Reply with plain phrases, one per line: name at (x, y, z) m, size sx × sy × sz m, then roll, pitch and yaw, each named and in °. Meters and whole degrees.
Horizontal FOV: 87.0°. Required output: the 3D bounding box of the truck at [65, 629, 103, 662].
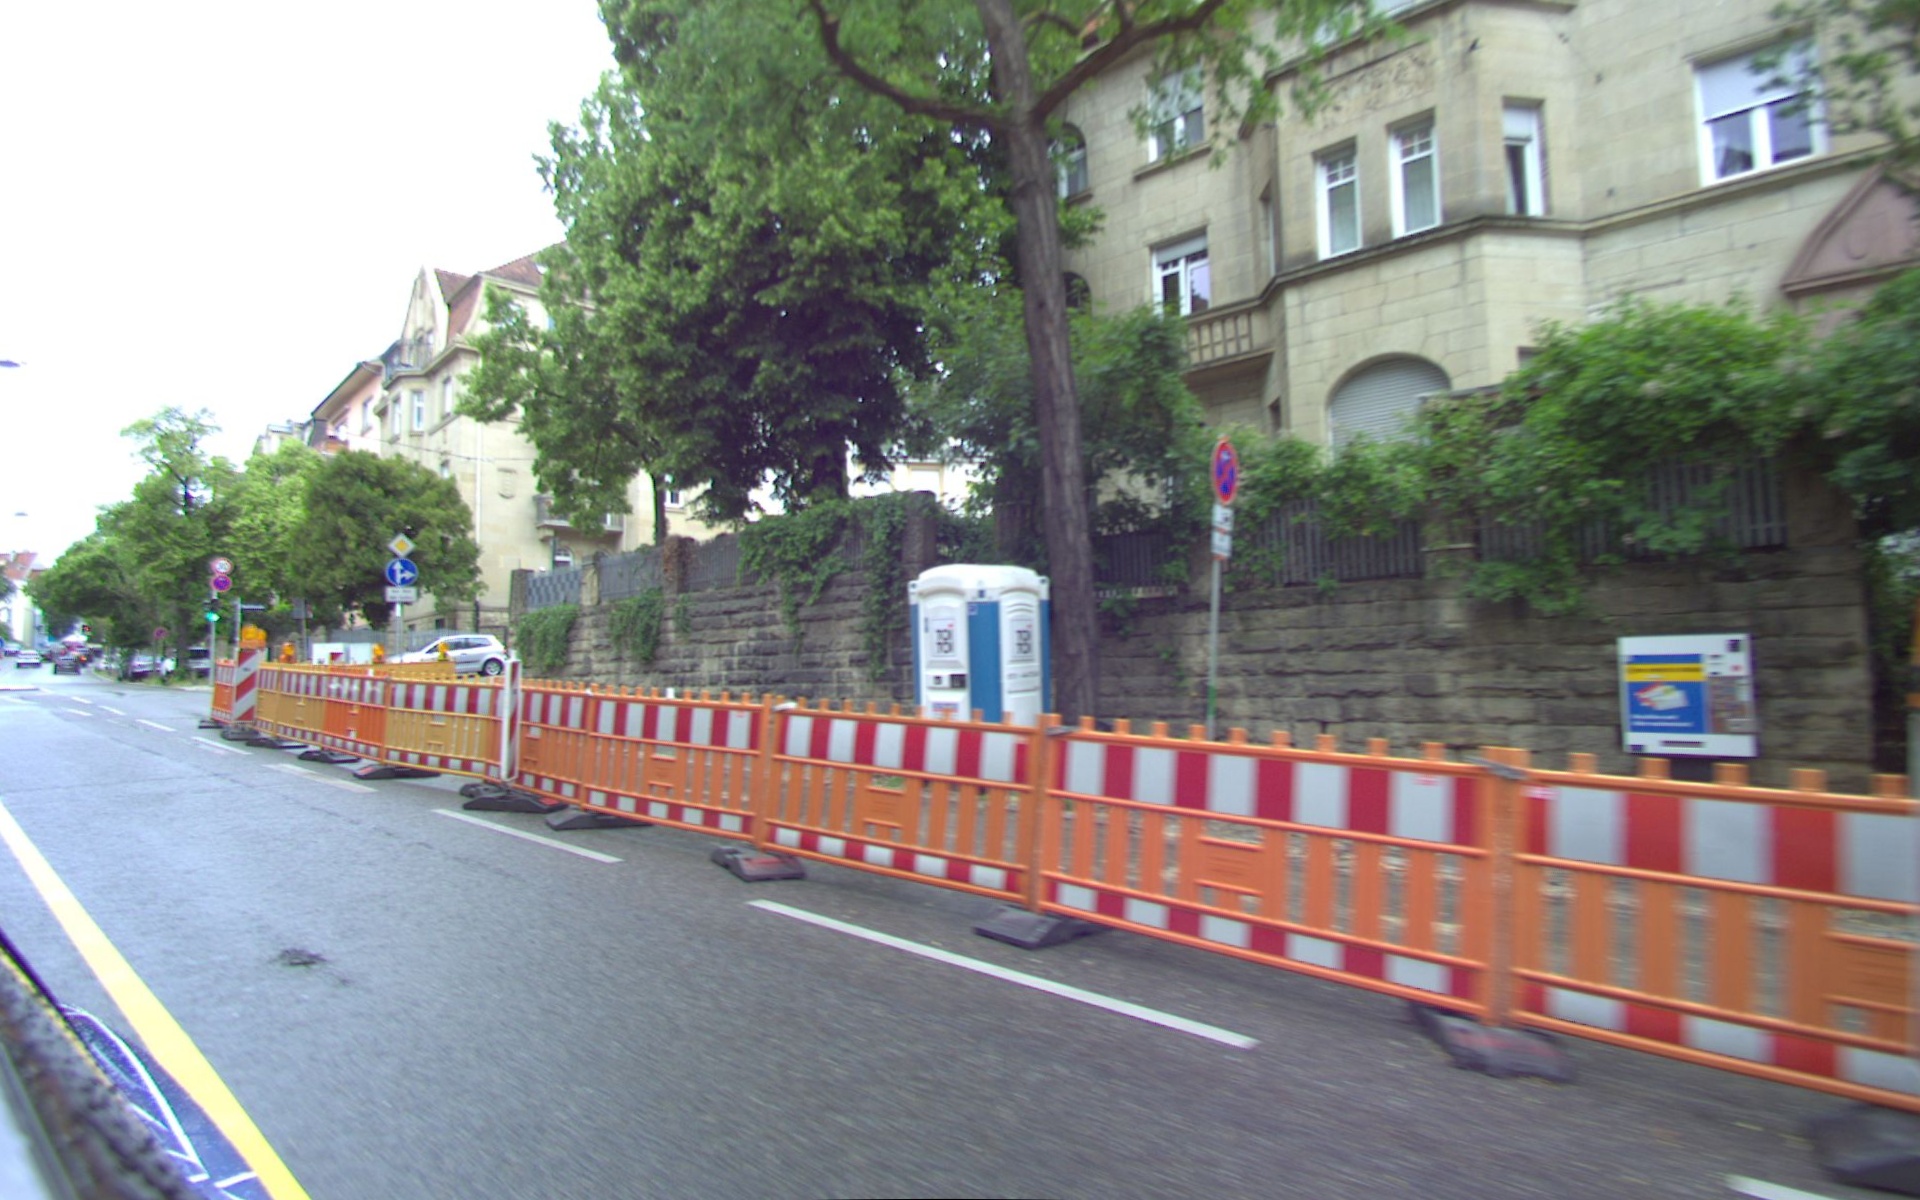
truck at (-107.425, 5.640, 124.082) m, size 9.310 × 3.884 × 2.617 m, roll -3°, pitch -6°, yaw 45°

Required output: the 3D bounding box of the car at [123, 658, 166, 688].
car at (-48.025, 4.277, 59.567) m, size 1.720 × 1.571 × 4.307 m, roll -1°, pitch -2°, yaw -42°

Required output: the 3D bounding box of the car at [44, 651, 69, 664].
car at (-103.494, 6.603, 115.997) m, size 1.689 × 1.491 × 4.123 m, roll 4°, pitch -5°, yaw -36°

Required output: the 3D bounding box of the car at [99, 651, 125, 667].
car at (-92.903, 6.452, 110.910) m, size 1.970 × 1.607 × 3.835 m, roll -2°, pitch 0°, yaw -38°

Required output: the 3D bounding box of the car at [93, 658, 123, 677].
car at (-76.718, 6.046, 91.110) m, size 1.721 × 1.571 × 4.304 m, roll 0°, pitch -2°, yaw -45°

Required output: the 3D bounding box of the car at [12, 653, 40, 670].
car at (-89.599, 5.890, 97.113) m, size 1.749 × 1.529 × 4.106 m, roll 2°, pitch -4°, yaw -40°

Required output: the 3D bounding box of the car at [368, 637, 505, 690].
car at (-17.641, 2.104, 34.180) m, size 3.813 × 1.419 × 1.830 m, roll -3°, pitch 1°, yaw -38°

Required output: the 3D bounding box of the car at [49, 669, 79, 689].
car at (-77.263, 6.806, 87.231) m, size 1.793 × 1.529 × 4.552 m, roll 4°, pitch -8°, yaw -42°

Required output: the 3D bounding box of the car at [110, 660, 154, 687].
car at (-53.667, 4.745, 65.570) m, size 4.303 × 1.571 × 1.722 m, roll -3°, pitch -1°, yaw 44°

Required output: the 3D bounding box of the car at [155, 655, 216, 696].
car at (-33.665, 3.236, 43.953) m, size 1.720 × 1.571 × 4.307 m, roll -1°, pitch -2°, yaw -42°

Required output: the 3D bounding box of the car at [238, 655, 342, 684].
car at (-32.675, 3.390, 49.413) m, size 3.940 × 1.337 × 1.838 m, roll 2°, pitch -5°, yaw -44°
